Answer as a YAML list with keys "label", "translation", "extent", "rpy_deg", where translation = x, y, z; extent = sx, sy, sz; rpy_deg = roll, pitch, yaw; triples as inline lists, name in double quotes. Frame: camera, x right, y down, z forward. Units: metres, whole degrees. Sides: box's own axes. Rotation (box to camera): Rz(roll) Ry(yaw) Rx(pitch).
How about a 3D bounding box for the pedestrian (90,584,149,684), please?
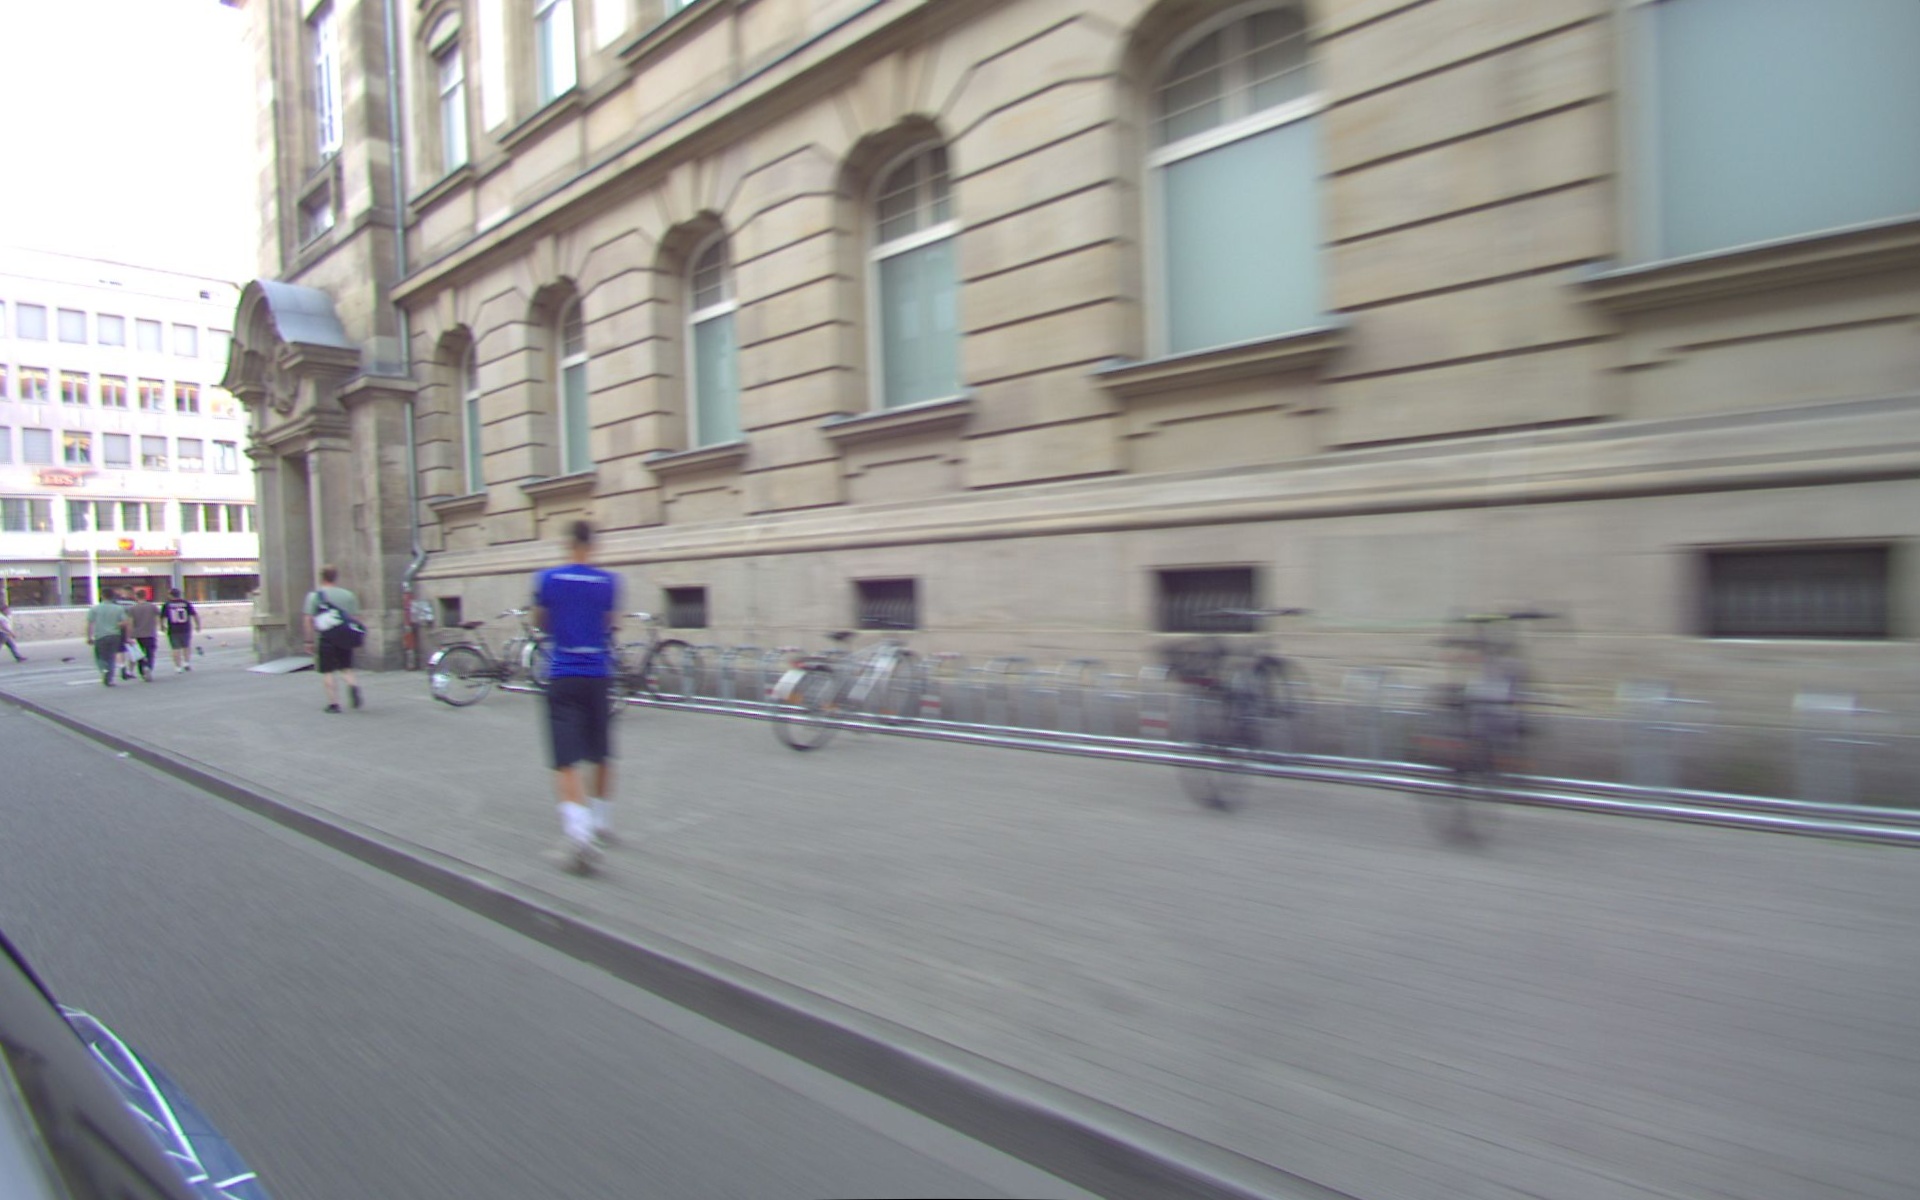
- label: "pedestrian"
  translation: [-16.203, 0.637, 19.501]
  extent: [0.708, 1.843, 0.871]
  rpy_deg: [-6, 4, -41]

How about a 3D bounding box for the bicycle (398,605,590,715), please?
- label: "bicycle"
  translation: [-5.646, 0.681, 12.385]
  extent: [0.728, 1.117, 2.002]
  rpy_deg: [-1, 3, 35]

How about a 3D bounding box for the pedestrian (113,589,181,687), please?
- label: "pedestrian"
  translation: [-14.744, 0.672, 18.351]
  extent: [0.858, 1.680, 0.721]
  rpy_deg: [-1, 4, 44]

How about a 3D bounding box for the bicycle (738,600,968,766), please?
- label: "bicycle"
  translation: [-0.816, 0.607, 8.312]
  extent: [0.729, 1.086, 1.920]
  rpy_deg: [-1, 3, 37]

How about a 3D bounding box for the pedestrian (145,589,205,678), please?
- label: "pedestrian"
  translation: [-15.477, 0.651, 19.953]
  extent: [0.747, 1.653, 0.749]
  rpy_deg: [-6, 4, -41]

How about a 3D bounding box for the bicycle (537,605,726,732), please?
- label: "bicycle"
  translation: [-3.372, 0.661, 10.624]
  extent: [0.725, 1.086, 2.011]
  rpy_deg: [-2, 3, 22]

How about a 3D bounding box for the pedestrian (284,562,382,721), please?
- label: "pedestrian"
  translation: [-7.443, 0.464, 12.019]
  extent: [0.800, 1.793, 0.710]
  rpy_deg: [-1, 2, 42]

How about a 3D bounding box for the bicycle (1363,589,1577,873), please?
- label: "bicycle"
  translation: [2.689, 0.542, 5.208]
  extent: [0.728, 1.086, 1.921]
  rpy_deg: [-1, 3, 34]

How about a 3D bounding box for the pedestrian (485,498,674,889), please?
- label: "pedestrian"
  translation: [-1.930, 0.420, 5.195]
  extent: [0.765, 1.802, 0.823]
  rpy_deg: [-3, 1, -19]

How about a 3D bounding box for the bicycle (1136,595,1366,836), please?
- label: "bicycle"
  translation: [1.790, 0.569, 5.984]
  extent: [0.728, 1.086, 1.921]
  rpy_deg: [-1, 3, 34]

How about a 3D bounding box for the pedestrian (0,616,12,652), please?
- label: "pedestrian"
  translation: [-46.254, 1.628, 48.886]
  extent: [0.558, 1.721, 0.539]
  rpy_deg: [-1, 1, 41]

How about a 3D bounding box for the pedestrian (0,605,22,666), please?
- label: "pedestrian"
  translation: [-26.737, 0.990, 28.102]
  extent: [0.731, 1.672, 0.755]
  rpy_deg: [-1, 0, -20]

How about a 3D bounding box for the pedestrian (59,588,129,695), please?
- label: "pedestrian"
  translation: [-15.173, 0.711, 17.732]
  extent: [0.840, 1.754, 0.718]
  rpy_deg: [-1, 4, 44]
